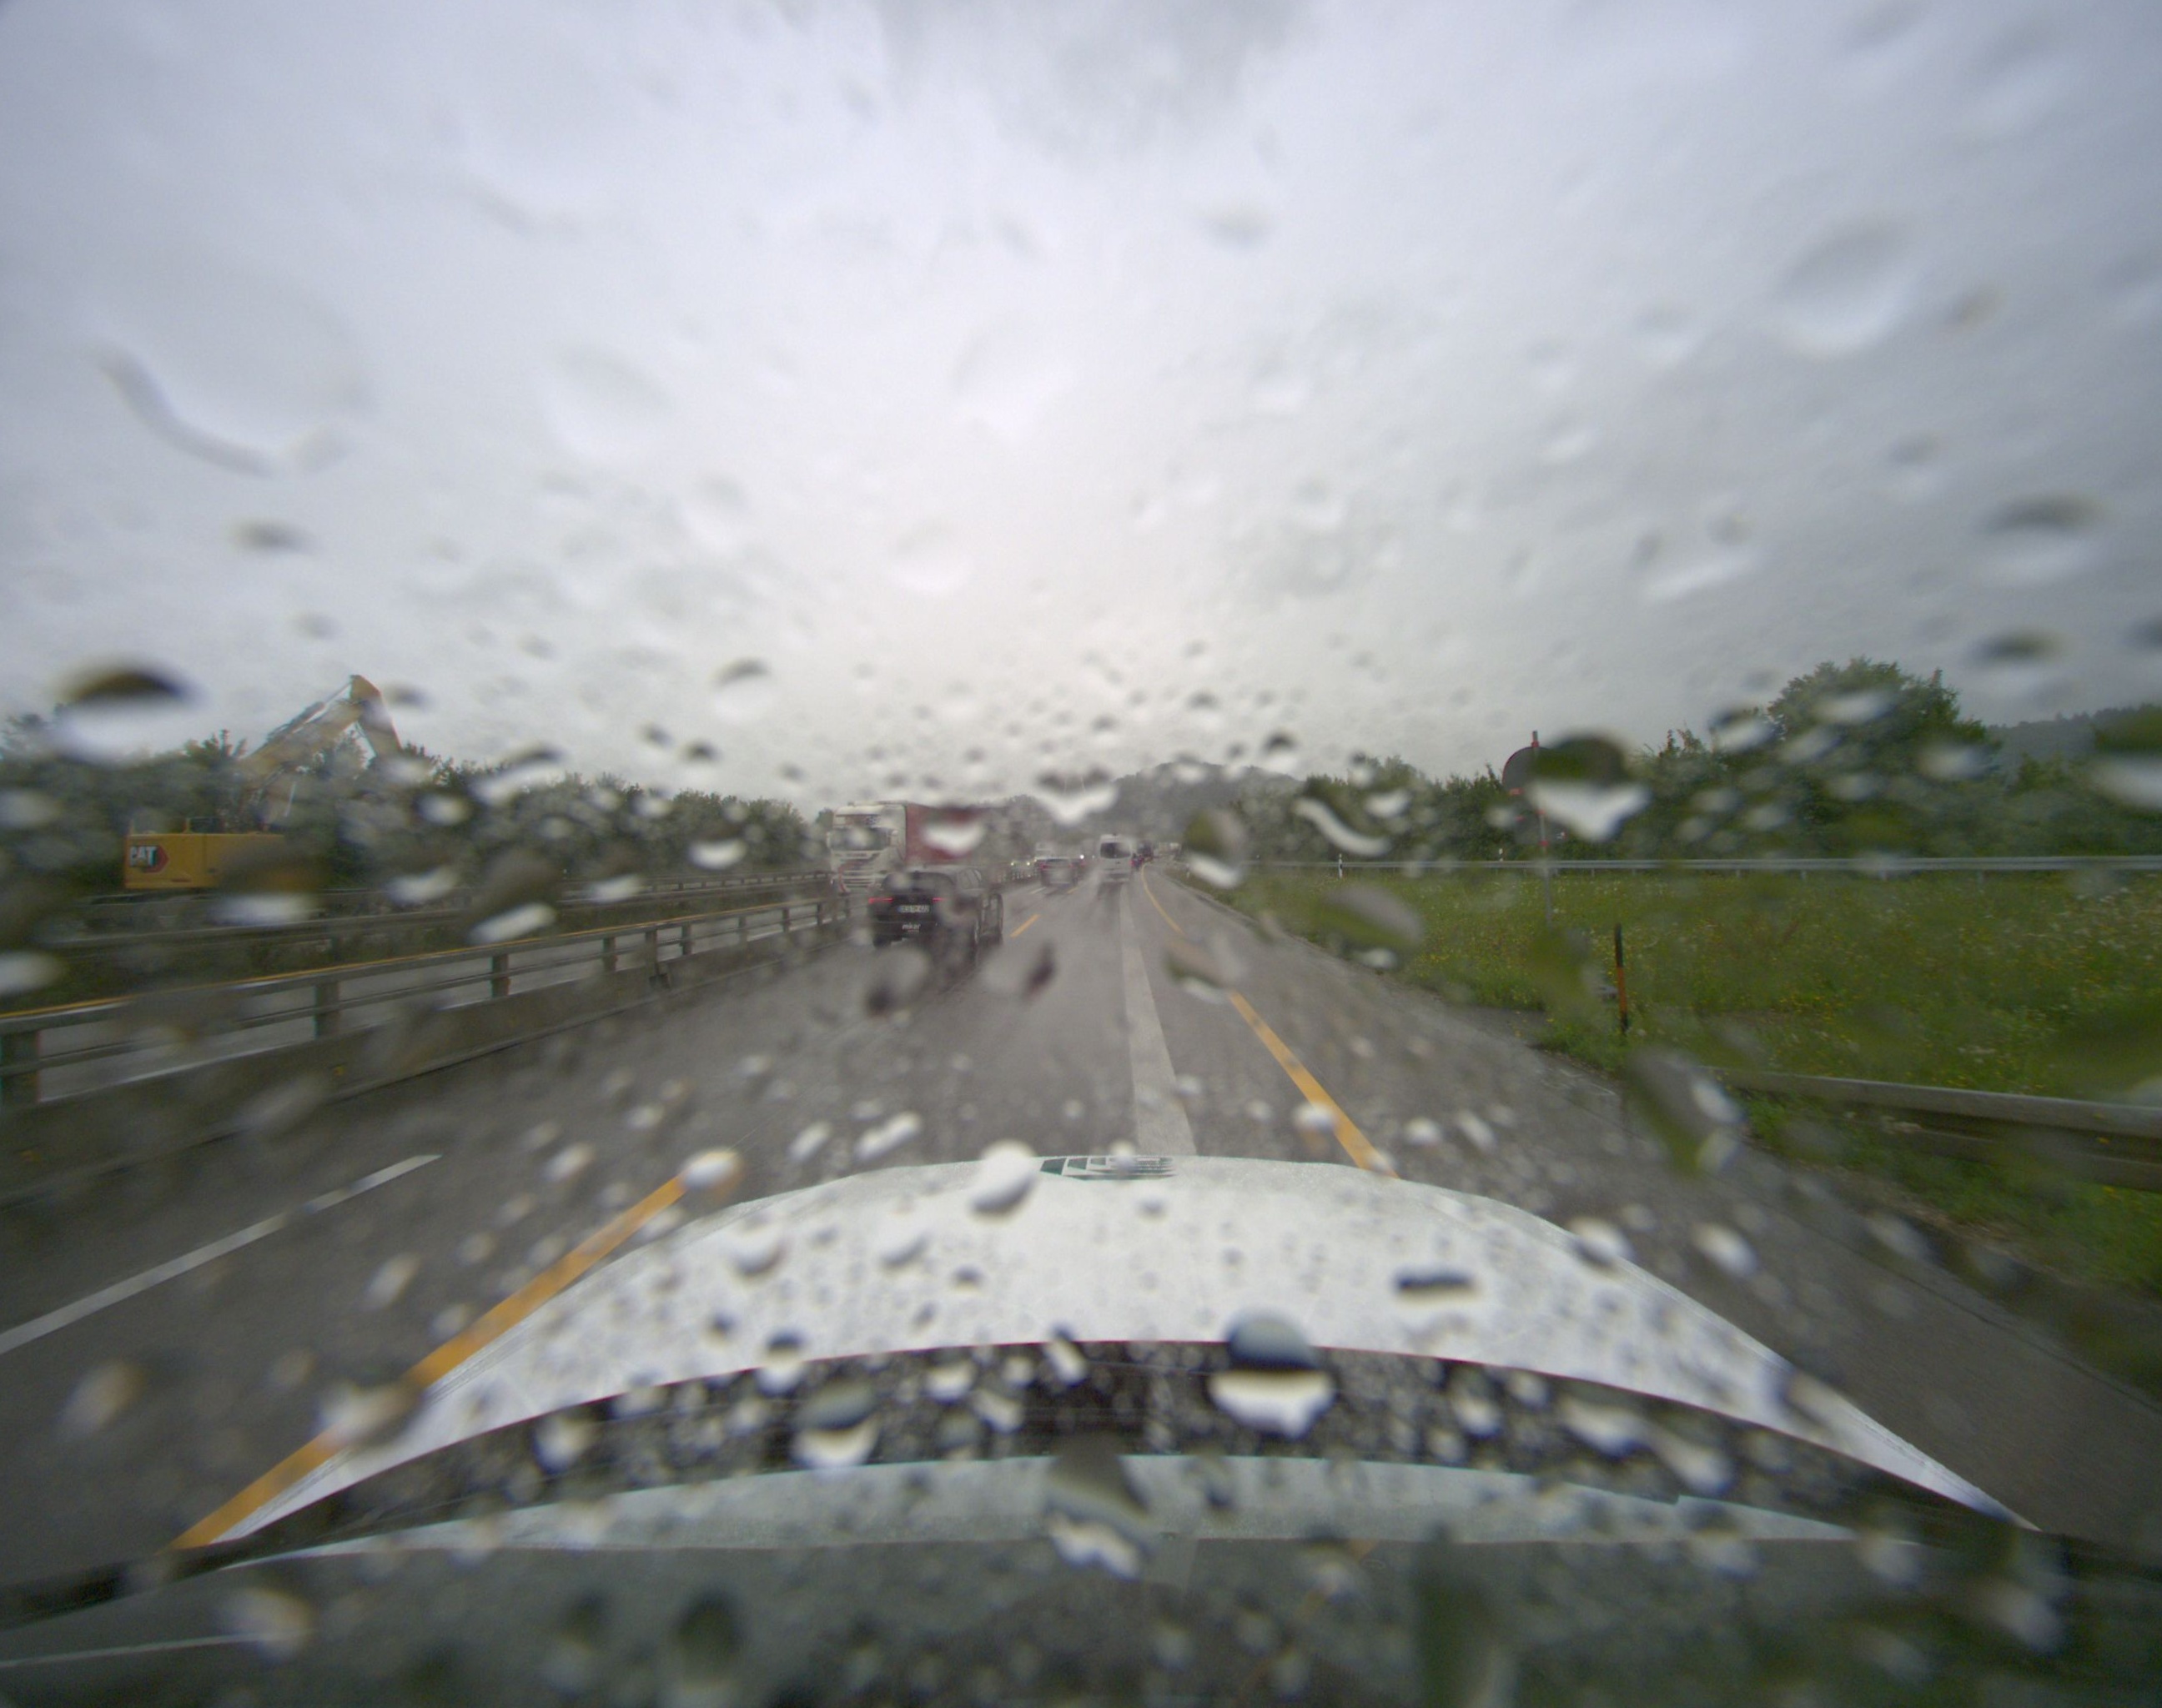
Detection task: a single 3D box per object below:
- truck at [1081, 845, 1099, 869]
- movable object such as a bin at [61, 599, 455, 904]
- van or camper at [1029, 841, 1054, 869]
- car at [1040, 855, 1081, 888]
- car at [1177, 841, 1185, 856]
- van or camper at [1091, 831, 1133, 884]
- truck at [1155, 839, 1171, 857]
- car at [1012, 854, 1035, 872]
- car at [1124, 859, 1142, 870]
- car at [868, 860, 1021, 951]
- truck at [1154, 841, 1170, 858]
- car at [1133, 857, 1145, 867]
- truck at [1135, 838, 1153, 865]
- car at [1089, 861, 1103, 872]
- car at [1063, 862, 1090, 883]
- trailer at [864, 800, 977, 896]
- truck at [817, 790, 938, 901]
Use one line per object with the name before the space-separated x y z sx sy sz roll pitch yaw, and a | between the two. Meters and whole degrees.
truck | 1.728 0.643 149.663 2.876 4.232 6.333 -2 -1 4
movable object such as a bin | -25.188 -2.701 25.913 3.580 8.144 8.316 0 -1 4
van or camper | -4.505 0.139 94.670 2.284 3.041 6.703 0 -1 3
car | -1.062 0.933 44.354 1.859 1.659 3.992 -1 0 4
car | 27.784 -1.436 225.715 2.047 4.192 6.758 -1 0 6
van or camper | 1.729 0.191 45.049 2.131 2.721 4.650 -1 0 2
truck | 22.652 -1.546 225.378 3.906 4.785 9.930 0 -1 9
car | -5.443 0.834 78.007 1.629 1.668 4.546 0 -1 3
car | 5.007 0.990 78.628 1.381 1.078 3.119 -1 0 -2
car | -2.338 0.830 15.286 1.931 1.427 4.762 0 0 2
truck | 18.936 -0.994 191.127 3.306 3.762 9.917 0 -1 4
car | 7.568 1.092 105.986 1.380 1.256 3.122 -1 0 0
truck | 11.826 -0.429 152.639 3.306 4.785 9.917 0 -1 4
car | 1.551 1.221 83.403 1.257 1.078 3.256 -1 0 3
car | -0.298 1.354 60.870 1.845 1.500 4.002 -1 0 2
trailer | -8.080 -0.250 42.860 2.963 4.295 11.070 -2 -1 3
truck | -8.581 -0.302 35.330 2.994 4.272 6.807 -2 -1 4
